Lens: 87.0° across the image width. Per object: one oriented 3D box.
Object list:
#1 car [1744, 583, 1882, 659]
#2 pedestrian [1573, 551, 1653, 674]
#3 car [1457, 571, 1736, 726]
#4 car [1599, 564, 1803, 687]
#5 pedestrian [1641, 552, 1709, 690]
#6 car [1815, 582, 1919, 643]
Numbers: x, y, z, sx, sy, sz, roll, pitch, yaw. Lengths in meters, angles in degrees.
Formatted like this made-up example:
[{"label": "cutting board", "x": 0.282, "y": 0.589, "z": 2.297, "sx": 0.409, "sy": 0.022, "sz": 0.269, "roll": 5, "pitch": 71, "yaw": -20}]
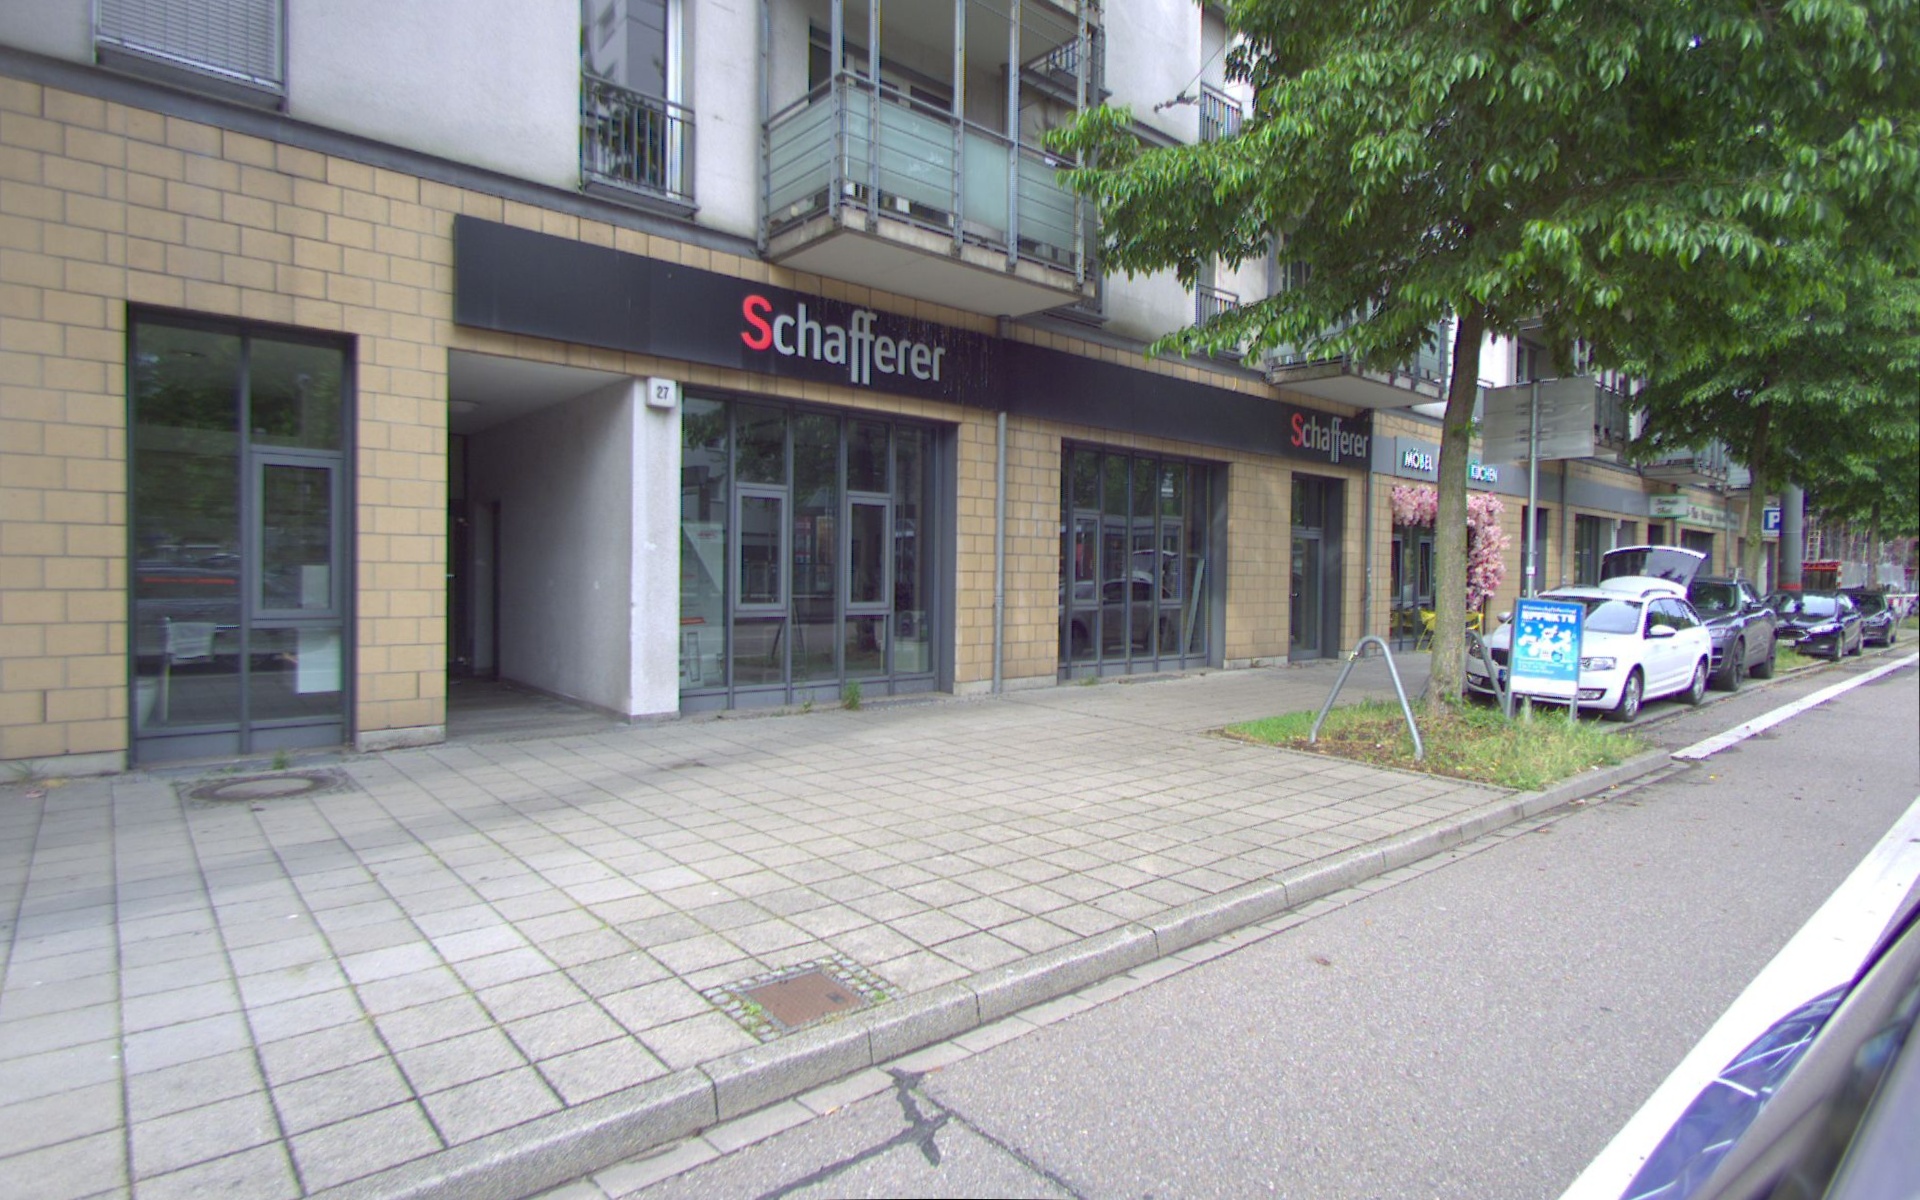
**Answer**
[{"label": "car", "x": 18.617, "y": 0.387, "z": 22.029, "sx": 4.095, "sy": 1.394, "sz": 1.612, "roll": -1, "pitch": 5, "yaw": -41}, {"label": "pedestrian", "x": 9.596, "y": 0.158, "z": 14.879, "sx": 0.606, "sy": 1.737, "sz": 0.739, "roll": 0, "pitch": 3, "yaw": -34}, {"label": "car", "x": 8.105, "y": 0.474, "z": 12.740, "sx": 4.233, "sy": 1.539, "sz": 1.738, "roll": -1, "pitch": 5, "yaw": -41}, {"label": "car", "x": 11.777, "y": 0.318, "z": 16.013, "sx": 3.732, "sy": 1.630, "sz": 1.738, "roll": -1, "pitch": 5, "yaw": -41}, {"label": "pedestrian", "x": 10.198, "y": 0.282, "z": 14.436, "sx": 0.588, "sy": 1.907, "sz": 0.656, "roll": 0, "pitch": 1, "yaw": -40}, {"label": "car", "x": 24.139, "y": 0.288, "z": 26.855, "sx": 3.603, "sy": 1.417, "sz": 1.612, "roll": -1, "pitch": 5, "yaw": -41}]
